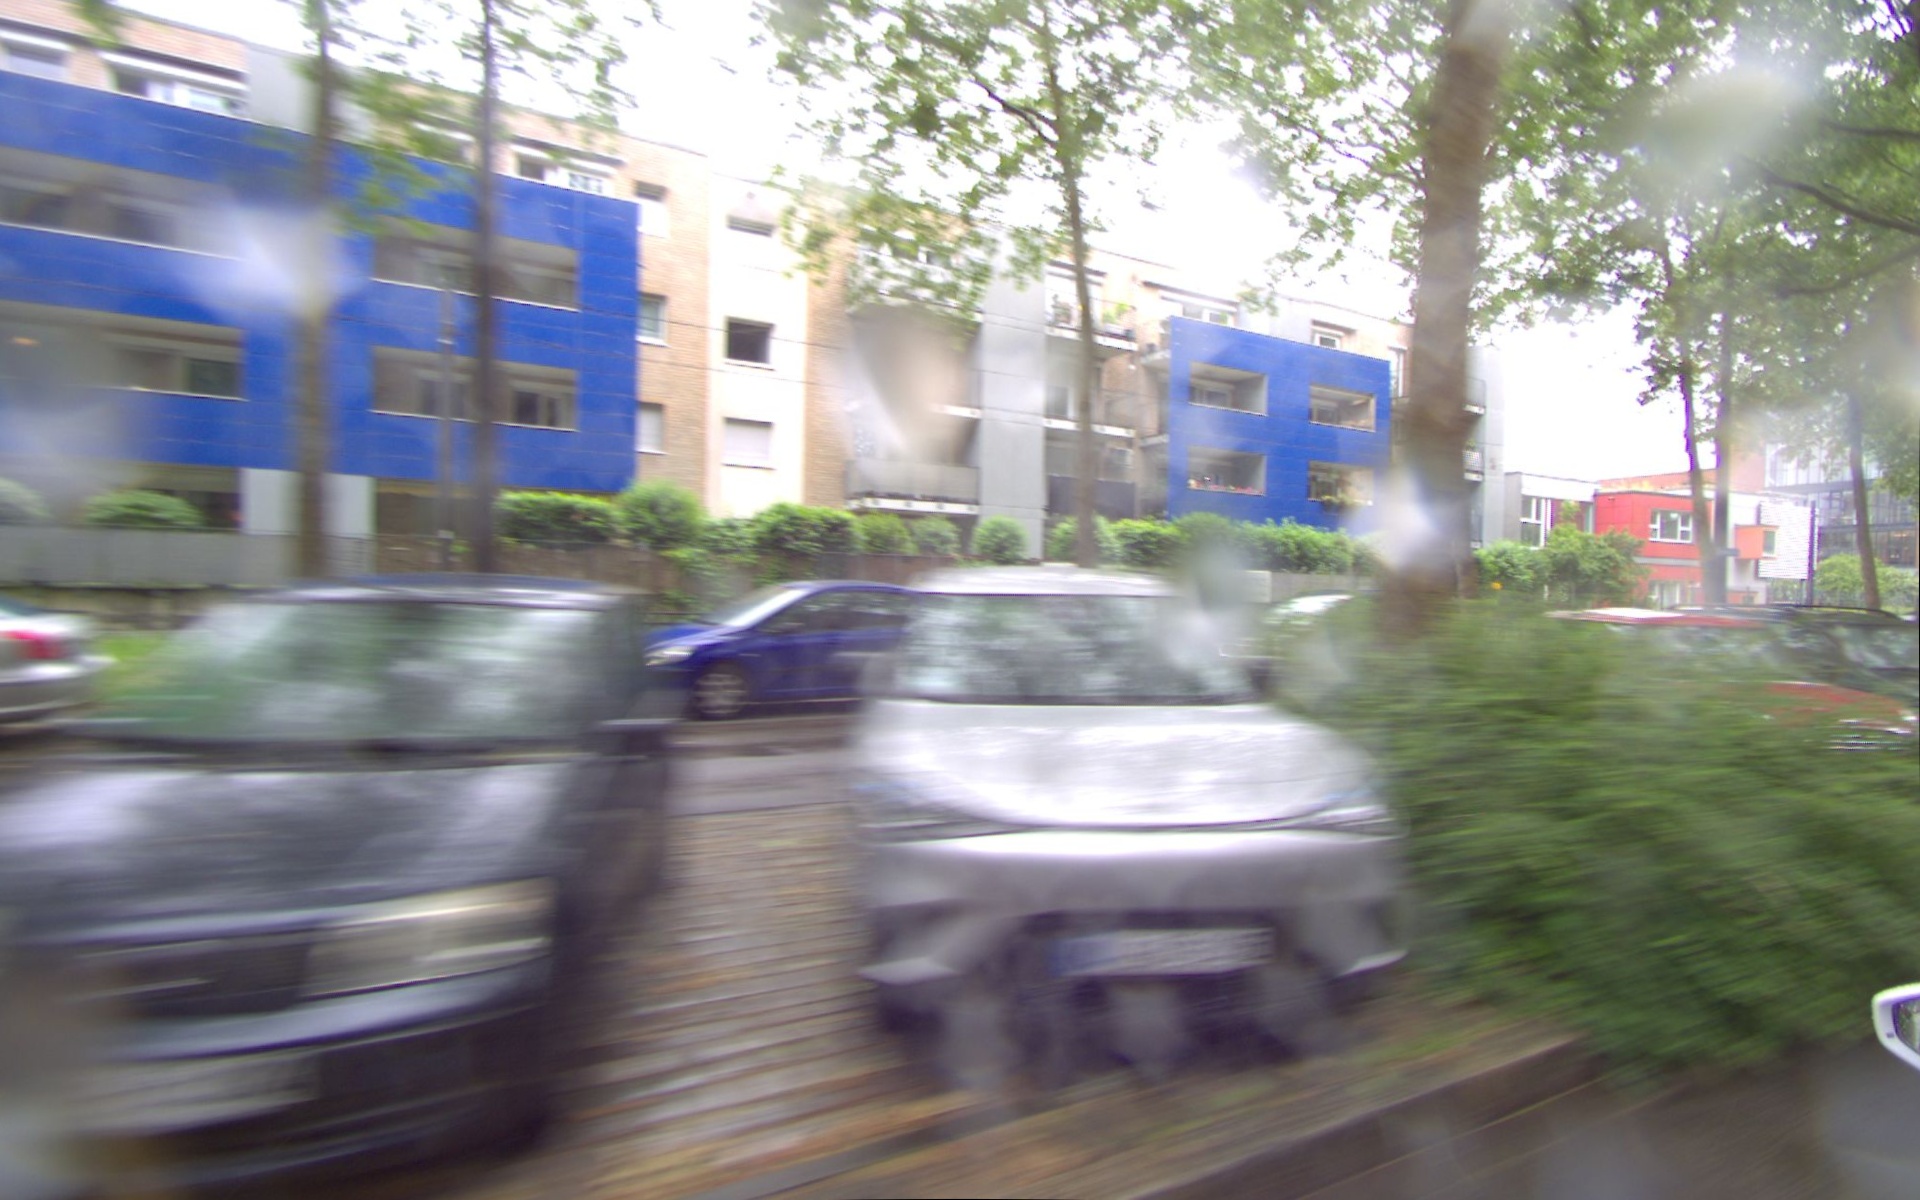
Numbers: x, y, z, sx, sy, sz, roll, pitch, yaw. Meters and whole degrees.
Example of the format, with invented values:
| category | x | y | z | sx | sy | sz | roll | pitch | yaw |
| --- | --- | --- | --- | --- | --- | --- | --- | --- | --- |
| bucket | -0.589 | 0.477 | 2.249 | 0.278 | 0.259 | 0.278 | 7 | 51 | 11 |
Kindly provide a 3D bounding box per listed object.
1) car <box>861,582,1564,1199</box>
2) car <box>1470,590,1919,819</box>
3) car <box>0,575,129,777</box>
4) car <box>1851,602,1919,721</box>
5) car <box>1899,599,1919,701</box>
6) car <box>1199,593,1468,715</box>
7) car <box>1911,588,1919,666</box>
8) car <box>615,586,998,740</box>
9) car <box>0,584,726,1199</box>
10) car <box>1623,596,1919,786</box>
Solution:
| category | x | y | z | sx | sy | sz | roll | pitch | yaw |
| --- | --- | --- | --- | --- | --- | --- | --- | --- | --- |
| car | 0.497 | 0.706 | 4.639 | 1.801 | 1.558 | 4.060 | 0 | 1 | -7 |
| car | 6.143 | 0.689 | 8.577 | 1.709 | 1.499 | 3.653 | 1 | 1 | 0 |
| car | -9.407 | 0.555 | 7.695 | 4.366 | 1.554 | 1.896 | 0 | 1 | -29 |
| car | 14.355 | 0.836 | 12.974 | 1.834 | 1.667 | 4.419 | 0 | -2 | 1 |
| car | 16.708 | 0.819 | 14.605 | 1.892 | 1.682 | 4.417 | 0 | 0 | -2 |
| car | 6.224 | 0.798 | 16.605 | 4.372 | 1.764 | 1.894 | 0 | 1 | -32 |
| car | 27.341 | 0.729 | 26.567 | 5.104 | 2.027 | 2.026 | 0 | 1 | -33 |
| car | -1.796 | 0.641 | 12.113 | 4.168 | 1.554 | 1.894 | 0 | 1 | -32 |
| car | -1.808 | 0.724 | 3.564 | 1.612 | 1.487 | 3.506 | 1 | 0 | -8 |
| car | 8.642 | 0.749 | 9.567 | 1.710 | 1.499 | 4.228 | 1 | 1 | -2 |
